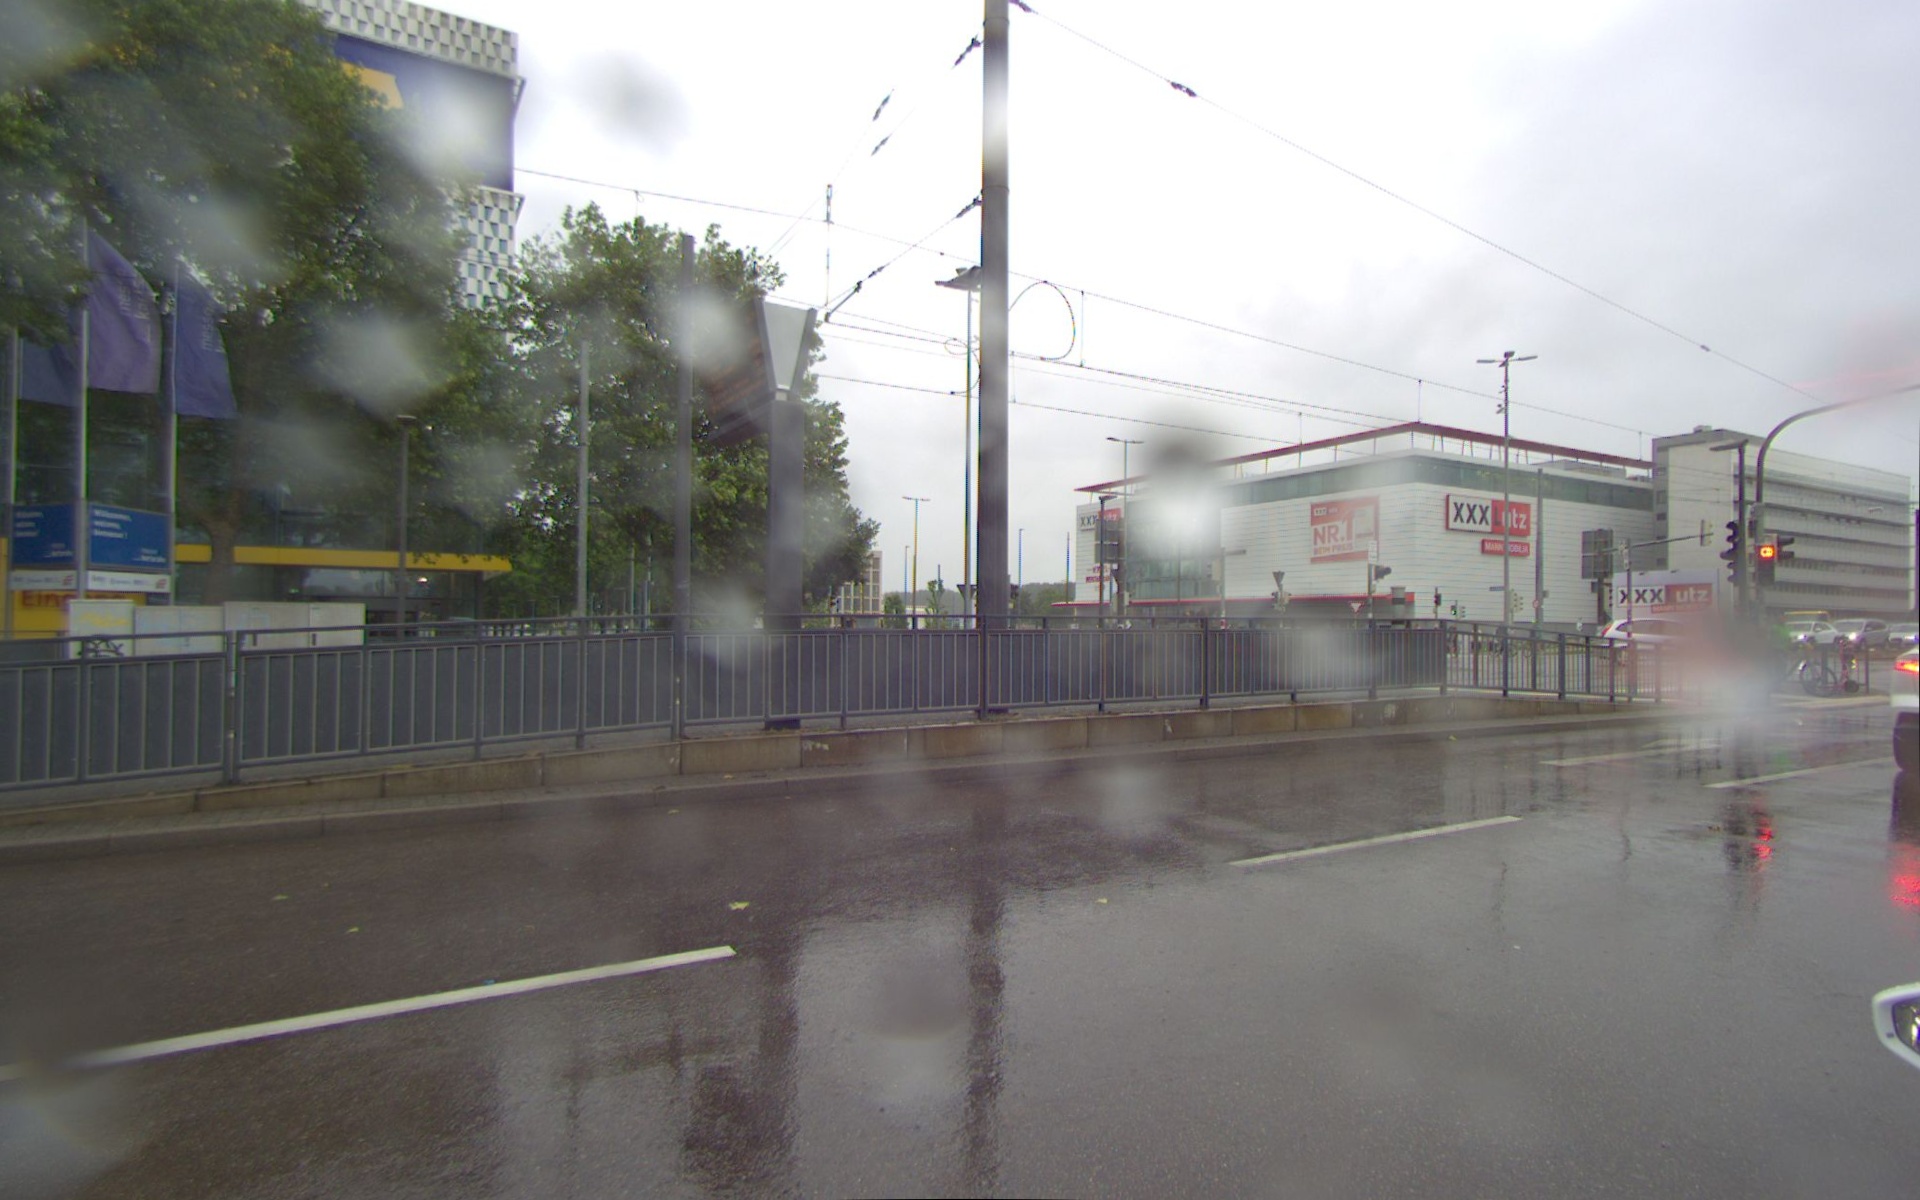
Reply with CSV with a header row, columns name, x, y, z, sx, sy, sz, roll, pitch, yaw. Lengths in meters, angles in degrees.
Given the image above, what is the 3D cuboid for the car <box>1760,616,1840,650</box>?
name,x,y,z,sx,sy,sz,roll,pitch,yaw
car,39.815,1.577,47.620,3.765,1.445,1.702,3,1,-30

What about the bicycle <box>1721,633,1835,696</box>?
name,x,y,z,sx,sy,sz,roll,pitch,yaw
bicycle,16.674,1.297,20.515,1.730,1.153,0.518,2,1,35

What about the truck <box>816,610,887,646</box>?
name,x,y,z,sx,sy,sz,roll,pitch,yaw
truck,-8.330,2.102,76.266,2.445,2.240,7.329,3,1,-31

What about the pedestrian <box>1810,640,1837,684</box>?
name,x,y,z,sx,sy,sz,roll,pitch,yaw
pedestrian,18.491,1.325,21.518,0.376,0.909,0.313,1,2,-32

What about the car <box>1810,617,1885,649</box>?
name,x,y,z,sx,sy,sz,roll,pitch,yaw
car,44.794,1.656,50.674,3.765,1.445,1.702,3,1,-30

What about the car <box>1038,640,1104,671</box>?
name,x,y,z,sx,sy,sz,roll,pitch,yaw
car,6.253,3.115,56.822,1.588,1.394,4.030,3,1,-30

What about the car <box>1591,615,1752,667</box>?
name,x,y,z,sx,sy,sz,roll,pitch,yaw
car,23.633,1.323,33.572,4.177,1.447,1.647,3,1,31

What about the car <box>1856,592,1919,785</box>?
name,x,y,z,sx,sy,sz,roll,pitch,yaw
car,11.217,0.896,10.121,4.609,1.799,1.921,2,0,-30

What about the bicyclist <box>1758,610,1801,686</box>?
name,x,y,z,sx,sy,sz,roll,pitch,yaw
bicyclist,16.753,0.973,20.538,0.595,1.511,0.598,2,1,36

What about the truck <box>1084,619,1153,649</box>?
name,x,y,z,sx,sy,sz,roll,pitch,yaw
truck,12.302,2.646,78.539,1.990,1.968,5.847,3,1,-31

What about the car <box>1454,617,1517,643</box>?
name,x,y,z,sx,sy,sz,roll,pitch,yaw
car,31.151,1.774,59.503,3.765,1.372,1.471,3,1,-30
